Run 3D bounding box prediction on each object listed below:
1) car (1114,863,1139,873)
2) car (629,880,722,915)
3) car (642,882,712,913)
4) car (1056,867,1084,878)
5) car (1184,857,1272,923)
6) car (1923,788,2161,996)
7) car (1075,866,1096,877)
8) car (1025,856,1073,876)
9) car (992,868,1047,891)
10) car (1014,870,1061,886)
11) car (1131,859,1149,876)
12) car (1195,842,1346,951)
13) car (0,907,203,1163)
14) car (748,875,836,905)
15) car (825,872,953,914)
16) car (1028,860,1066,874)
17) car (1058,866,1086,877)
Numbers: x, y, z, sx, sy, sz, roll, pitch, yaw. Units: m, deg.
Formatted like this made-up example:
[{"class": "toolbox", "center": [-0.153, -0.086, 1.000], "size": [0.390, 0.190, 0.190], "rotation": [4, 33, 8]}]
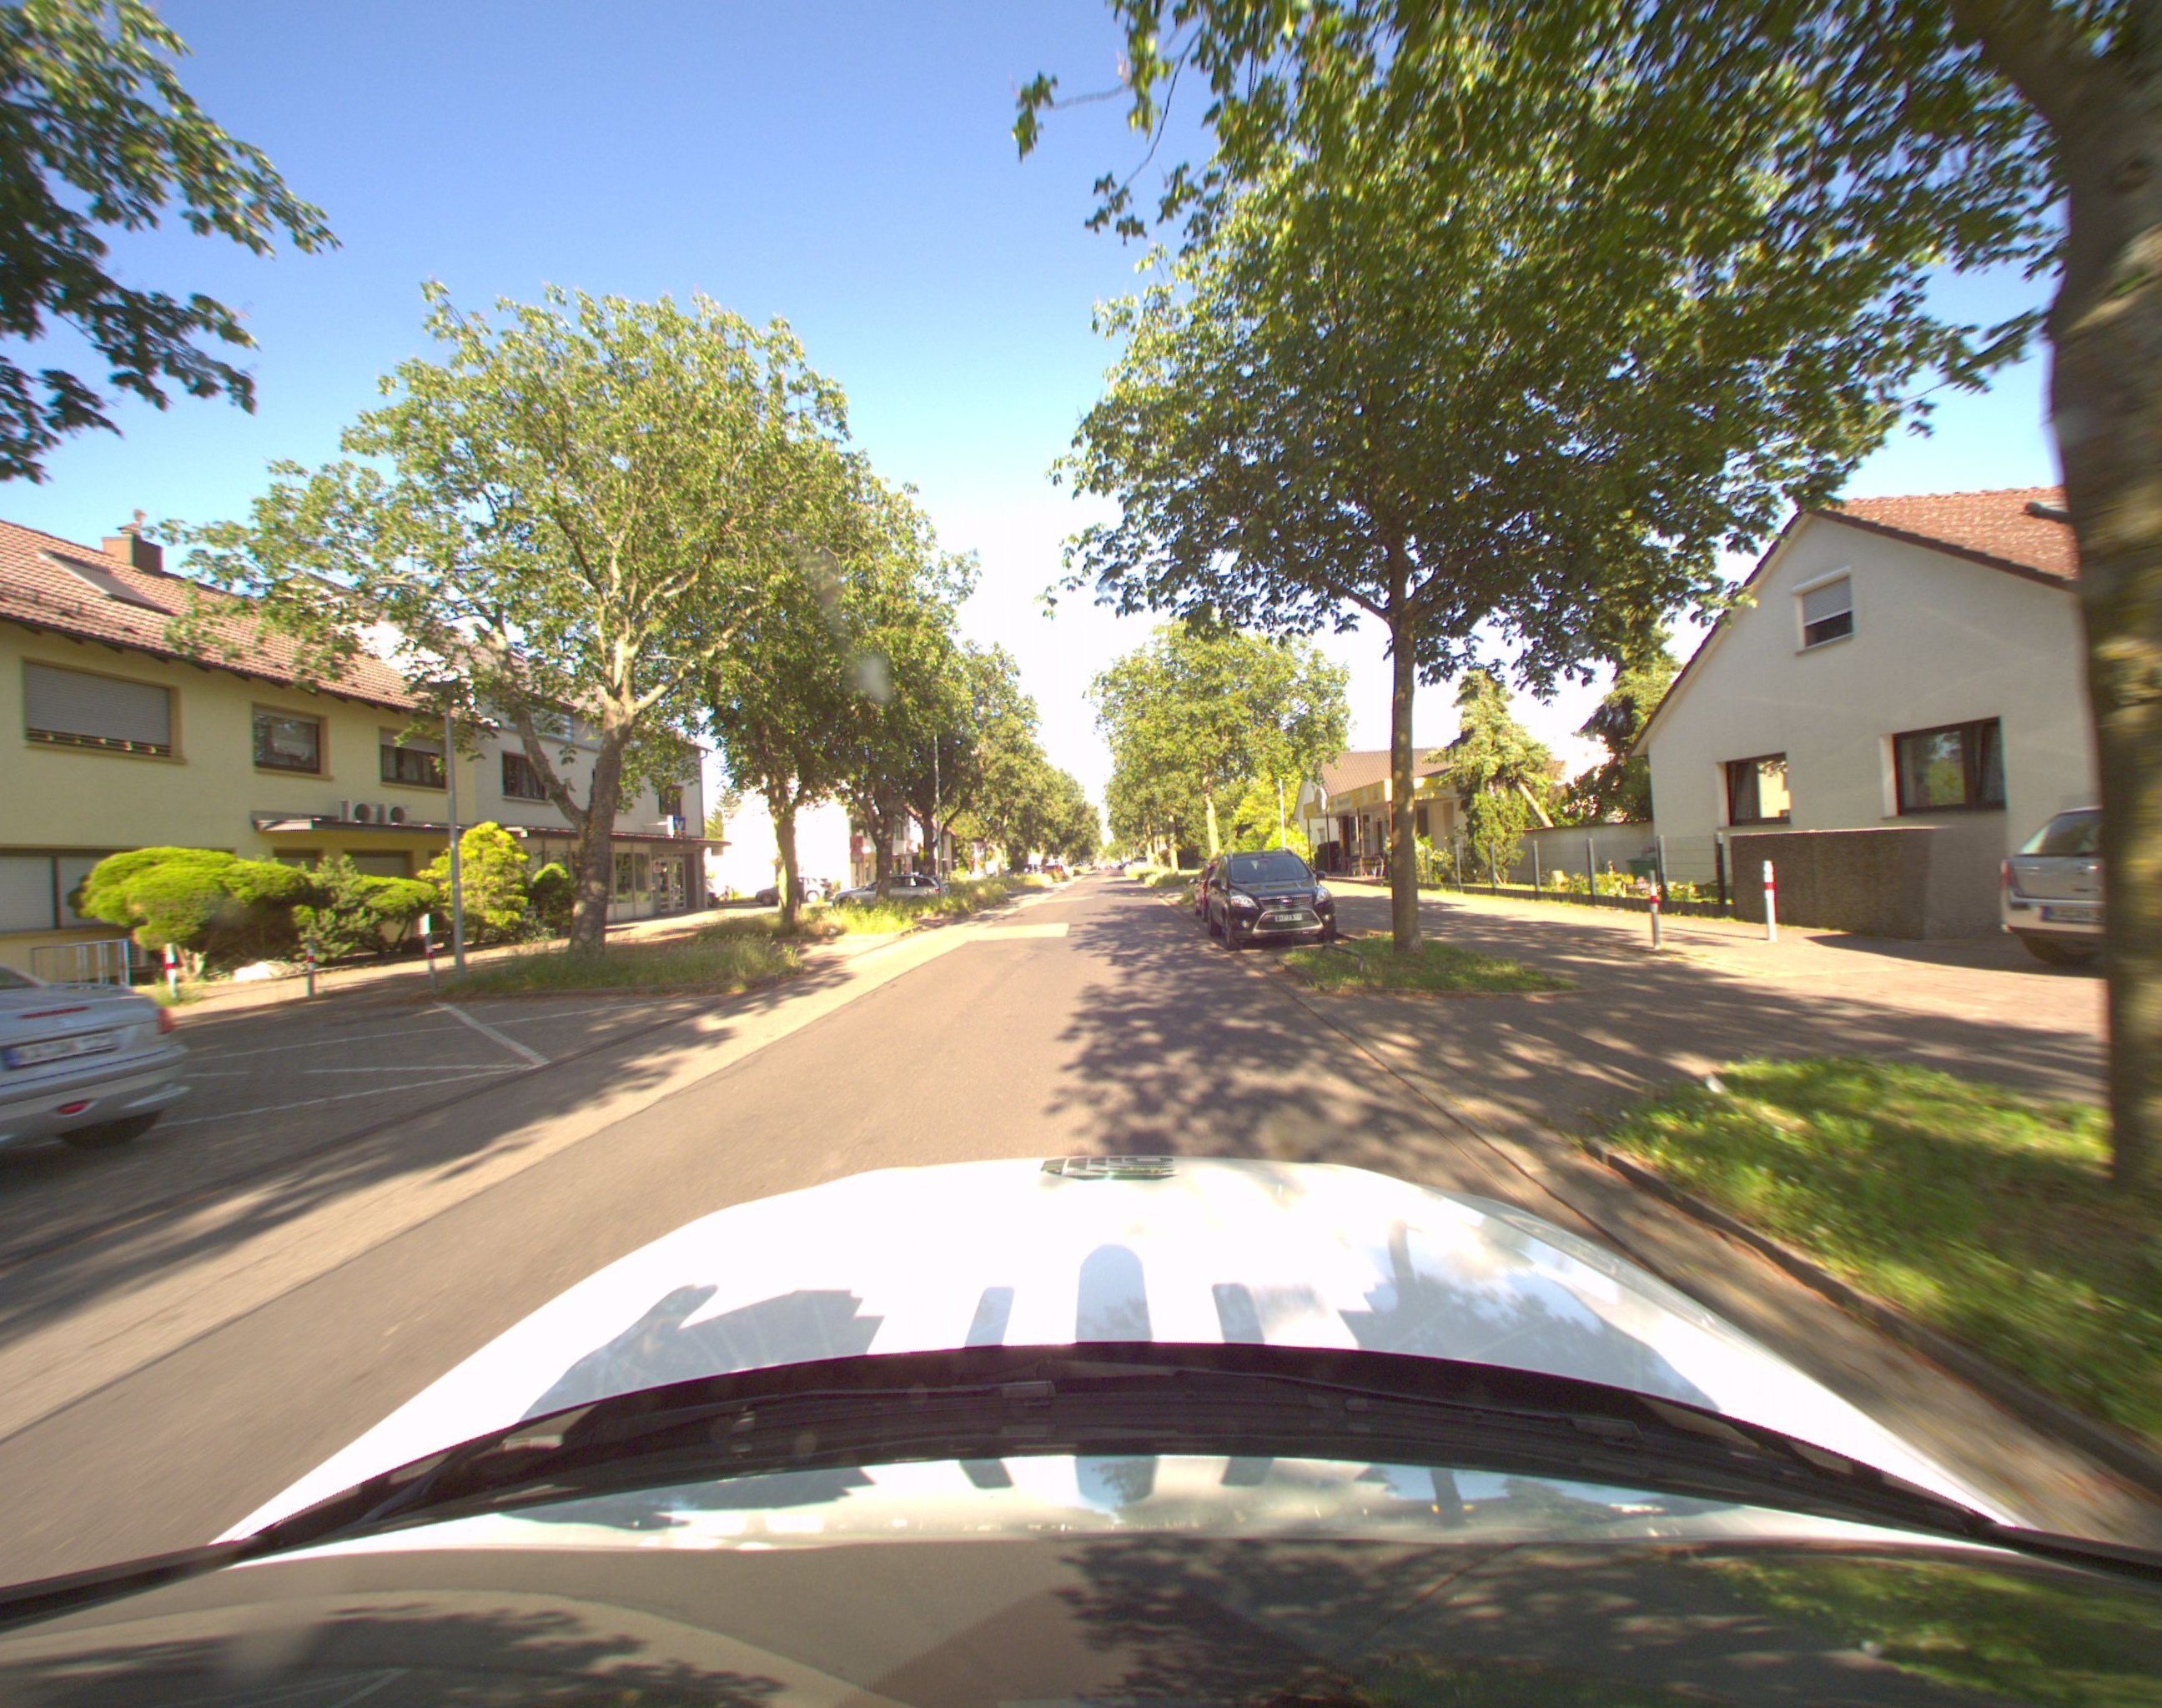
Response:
[{"class": "car", "center": [8.235, 2.447, 147.070], "size": [3.992, 1.644, 1.991], "rotation": [-1, 1, -14]}, {"class": "car", "center": [-24.401, 2.595, 49.121], "size": [4.542, 1.927, 1.999], "rotation": [-1, 0, -2]}, {"class": "car", "center": [-19.364, 2.068, 39.187], "size": [1.535, 1.237, 3.512], "rotation": [-1, 1, 1]}, {"class": "car", "center": [-1.456, 2.541, 110.665], "size": [3.683, 1.446, 1.666], "rotation": [-1, -1, 5]}, {"class": "car", "center": [3.797, 0.908, 21.656], "size": [1.691, 1.479, 3.889], "rotation": [-4, -1, 2]}, {"class": "car", "center": [9.902, 0.152, 6.675], "size": [3.973, 1.488, 1.902], "rotation": [-4, 0, 1]}, {"class": "car", "center": [0.919, 3.467, 160.460], "size": [3.966, 2.013, 2.004], "rotation": [-1, 0, 6]}, {"class": "car", "center": [-3.801, 1.402, 97.395], "size": [5.480, 2.247, 2.517], "rotation": [-1, 0, 0]}, {"class": "car", "center": [-5.210, 2.150, 69.546], "size": [4.535, 1.765, 1.998], "rotation": [-1, 0, -3]}, {"class": "car", "center": [-4.036, 2.206, 75.568], "size": [4.277, 1.315, 1.907], "rotation": [-1, 1, -3]}, {"class": "car", "center": [6.365, 1.443, 88.053], "size": [1.895, 1.774, 4.303], "rotation": [-1, -1, 3]}, {"class": "car", "center": [3.334, 0.736, 15.265], "size": [1.846, 1.626, 4.471], "rotation": [-4, -2, 2]}, {"class": "car", "center": [-7.687, 1.037, 4.572], "size": [3.751, 1.301, 1.612], "rotation": [-1, 0, 1]}, {"class": "car", "center": [-17.288, 2.153, 48.933], "size": [4.542, 1.618, 1.999], "rotation": [-1, 0, -2]}, {"class": "car", "center": [-7.462, 1.508, 31.957], "size": [4.537, 1.511, 1.842], "rotation": [-1, 0, 2]}, {"class": "car", "center": [-3.696, 1.441, 87.921], "size": [3.857, 1.479, 1.896], "rotation": [0, -1, 4]}, {"class": "car", "center": [-1.210, 2.412, 114.265], "size": [3.683, 1.446, 1.666], "rotation": [-1, -1, 5]}]
